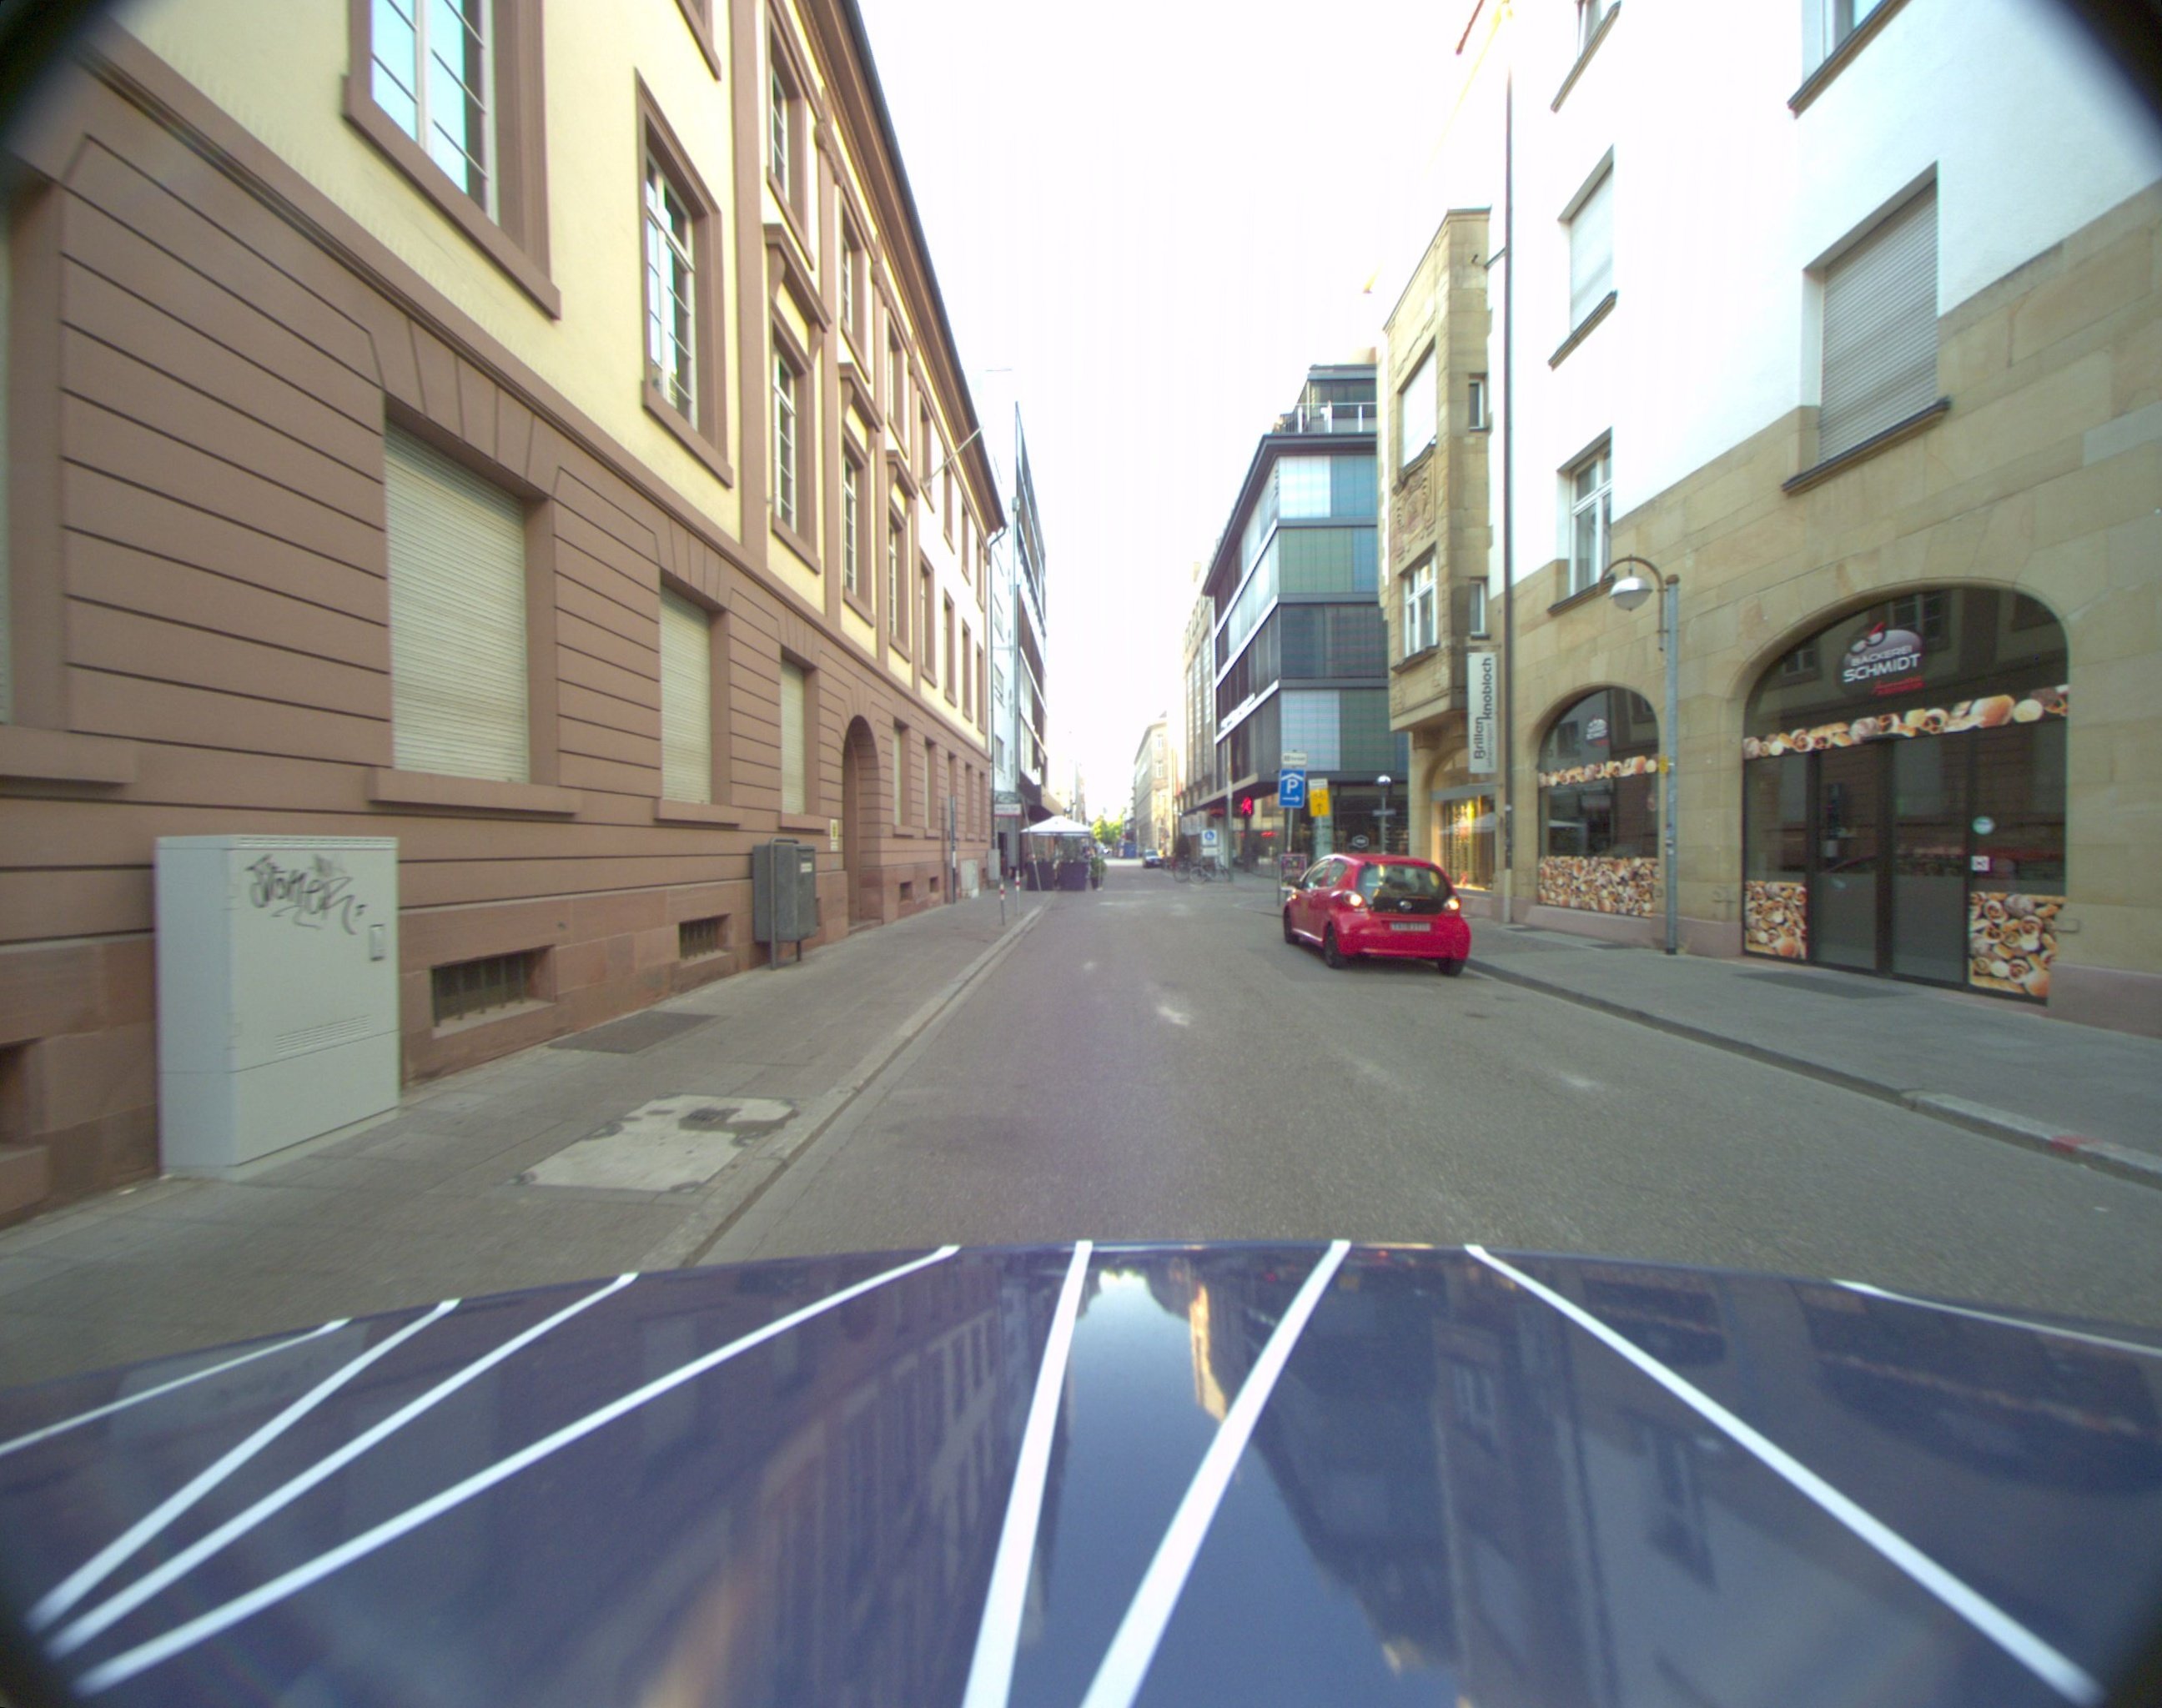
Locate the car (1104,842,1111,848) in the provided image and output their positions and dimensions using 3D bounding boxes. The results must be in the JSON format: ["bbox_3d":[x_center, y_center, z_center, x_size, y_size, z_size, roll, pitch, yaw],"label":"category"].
[{"bbox_3d":[5.410,-1.829,156.609,1.426,1.090,3.563,-1,1,1],"label":"car"}]

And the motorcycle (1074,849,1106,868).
[{"bbox_3d":[0.618,0.319,53.290,2.192,1.275,0.651,1,2,3],"label":"motorcycle"}]

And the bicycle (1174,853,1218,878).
[{"bbox_3d":[5.281,0.531,35.011,1.952,1.124,0.526,-1,1,2],"label":"bicycle"}]

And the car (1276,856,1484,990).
[{"bbox_3d":[3.873,0.802,10.419,1.637,1.433,3.157,3,1,2],"label":"car"}]

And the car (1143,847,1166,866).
[{"bbox_3d":[5.738,0.164,59.559,1.426,1.409,3.894,-1,1,1],"label":"car"}]

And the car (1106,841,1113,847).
[{"bbox_3d":[6.737,-2.350,177.934,1.426,1.259,3.562,-1,1,-2],"label":"car"}]

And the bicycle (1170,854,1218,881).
[{"bbox_3d":[4.793,0.572,32.311,1.952,1.124,0.620,-1,1,2],"label":"bicycle"}]

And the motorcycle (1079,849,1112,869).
[{"bbox_3d":[0.963,0.338,51.557,2.192,1.275,0.651,1,2,3],"label":"motorcycle"}]

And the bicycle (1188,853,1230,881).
[{"bbox_3d":[5.170,0.525,30.762,1.607,1.112,0.620,-1,1,2],"label":"bicycle"}]

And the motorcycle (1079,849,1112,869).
[{"bbox_3d":[0.982,0.353,50.593,2.192,1.275,0.651,1,2,3],"label":"motorcycle"}]

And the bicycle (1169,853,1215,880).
[{"bbox_3d":[4.838,0.554,33.217,1.952,1.124,0.620,-1,1,2],"label":"bicycle"}]
